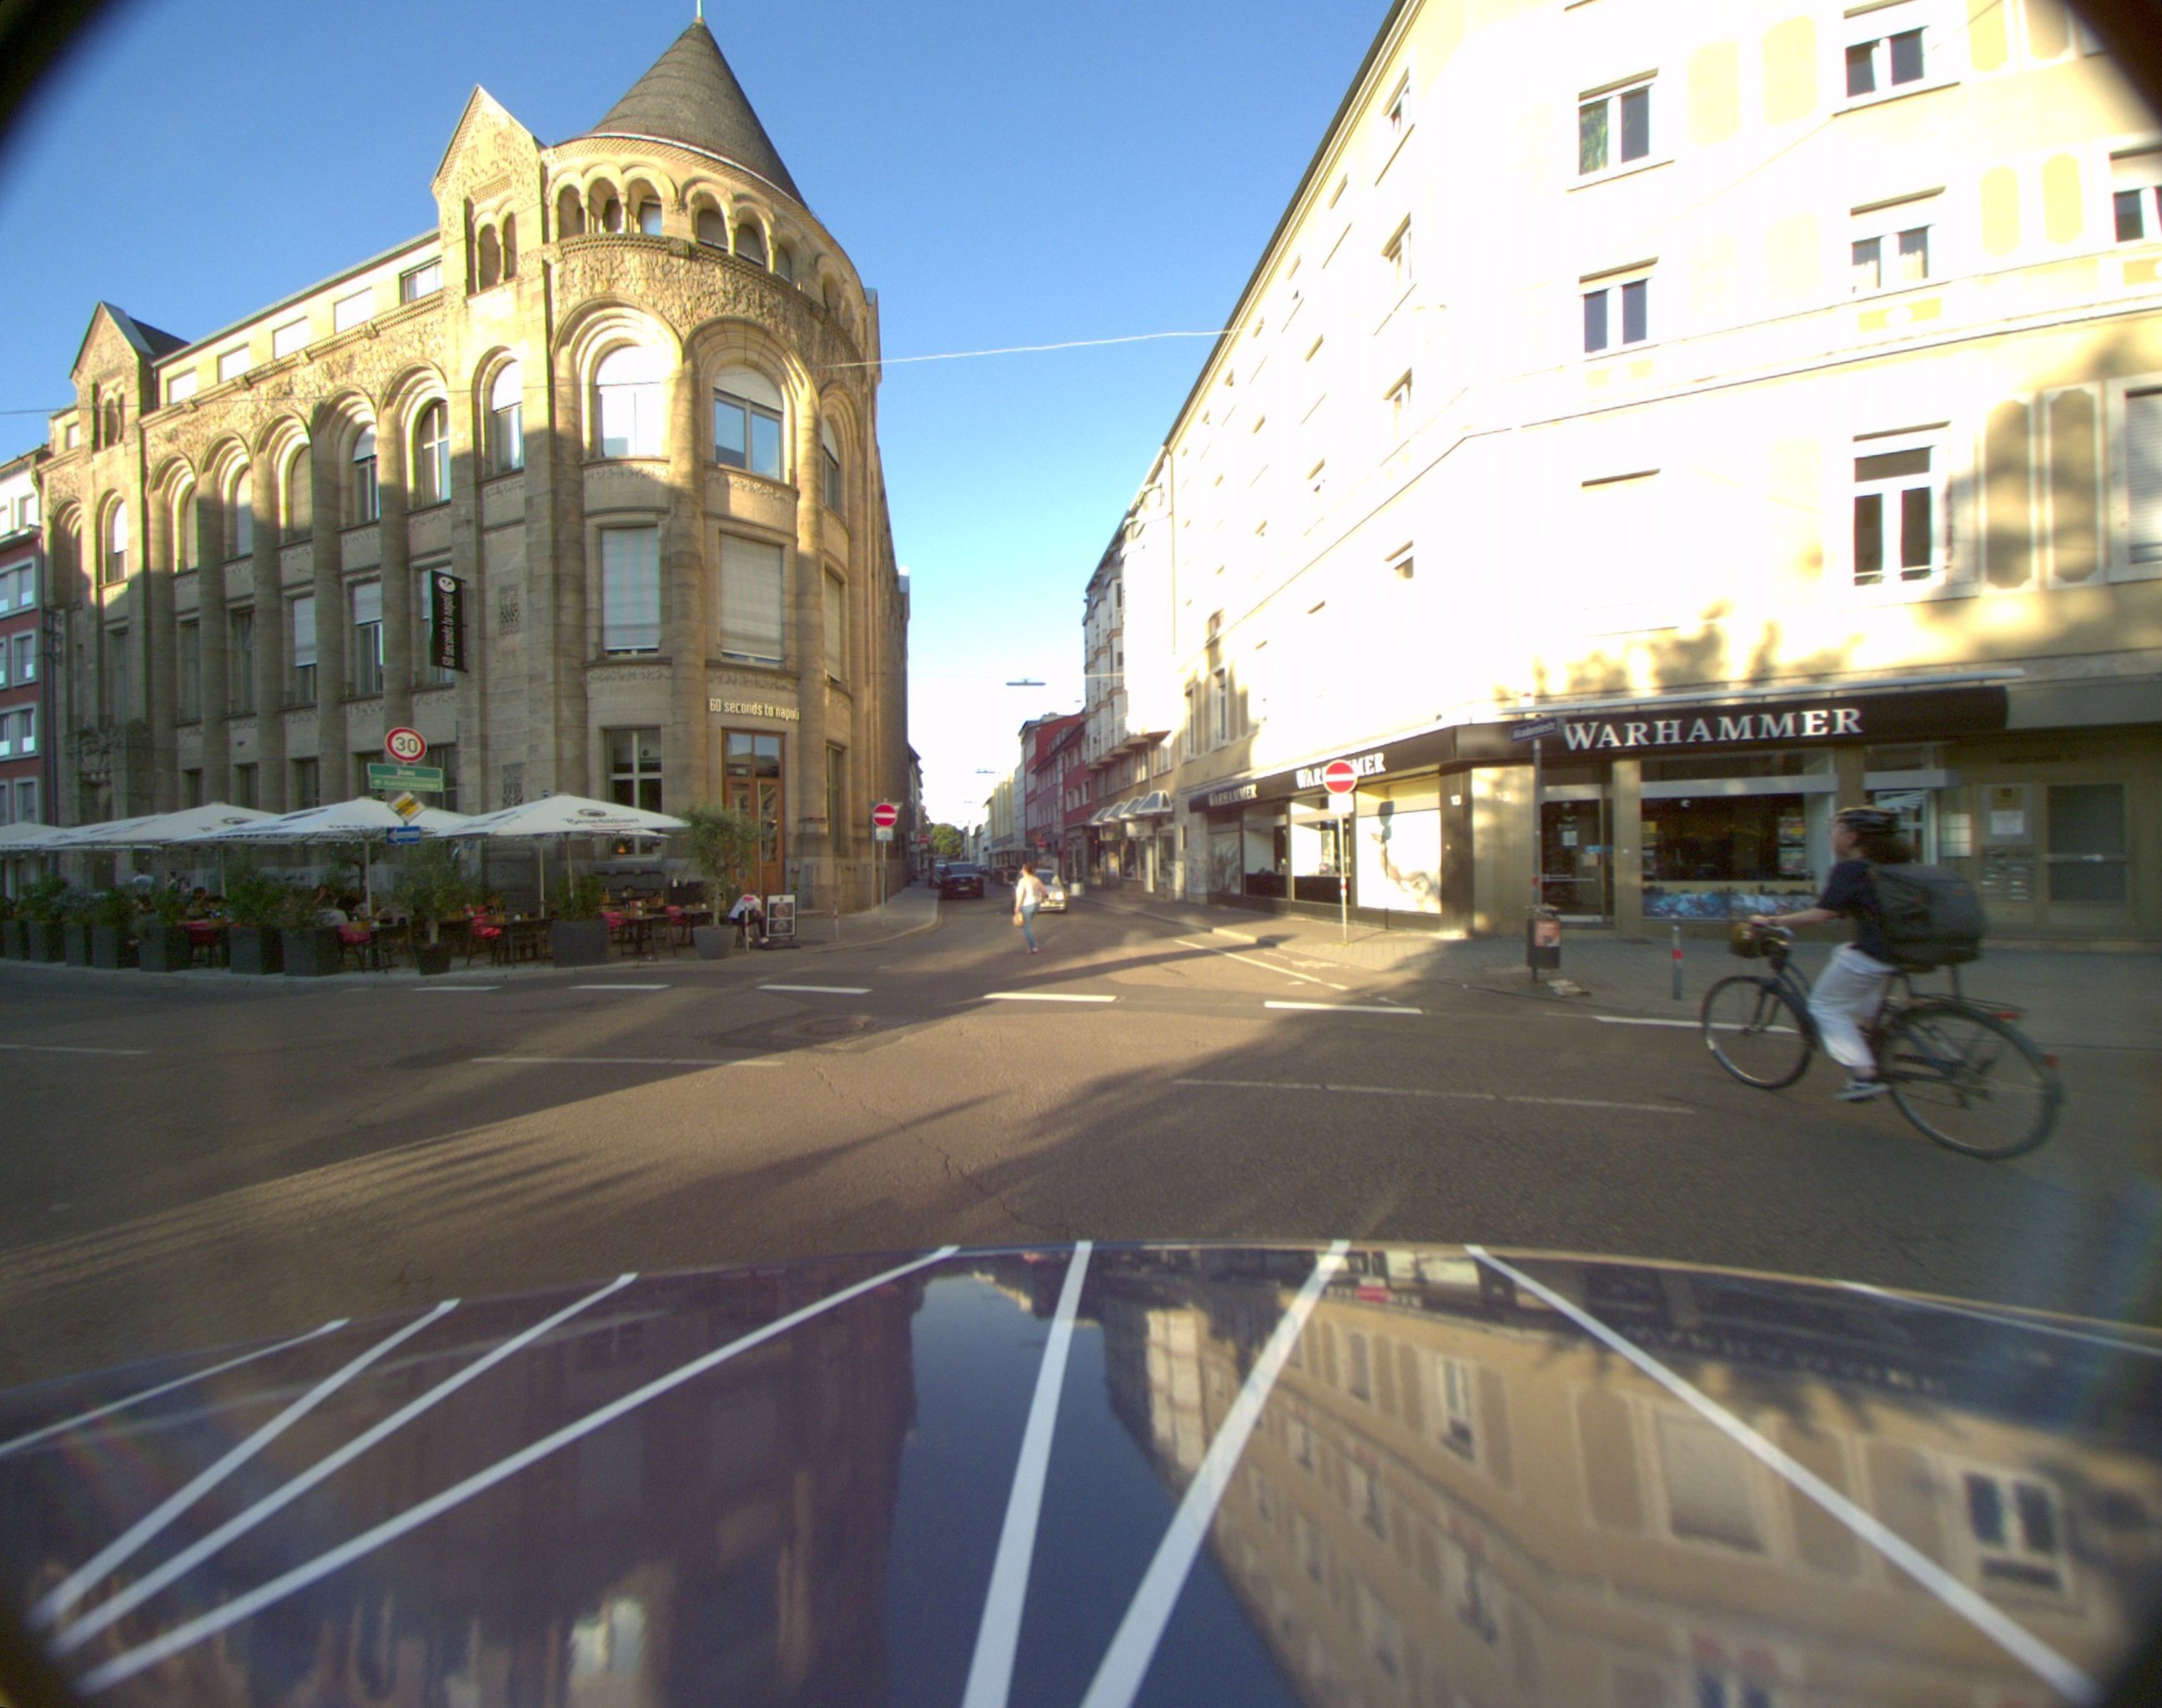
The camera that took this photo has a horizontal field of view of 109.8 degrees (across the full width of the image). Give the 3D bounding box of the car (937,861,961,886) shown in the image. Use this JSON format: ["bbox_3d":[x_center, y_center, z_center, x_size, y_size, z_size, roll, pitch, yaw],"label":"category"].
[{"bbox_3d":[-10.083,1.451,58.140,1.676,1.796,4.236,-2,0,-9],"label":"car"}]

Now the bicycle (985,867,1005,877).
[{"bbox_3d":[-11.359,2.338,100.551,2.482,1.172,0.784,-2,1,-5],"label":"bicycle"}]

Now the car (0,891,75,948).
[{"bbox_3d":[-28.825,1.766,19.222,1.756,1.404,4.102,-2,0,-12],"label":"car"}]

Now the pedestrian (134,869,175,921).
[{"bbox_3d":[-31.074,1.367,25.488,0.596,1.720,0.630,-1,0,15],"label":"pedestrian"}]

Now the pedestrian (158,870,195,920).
[{"bbox_3d":[-31.968,1.434,26.863,0.628,1.720,0.598,-1,0,17],"label":"pedestrian"}]

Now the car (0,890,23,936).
[{"bbox_3d":[-34.167,1.866,21.971,1.756,1.404,4.178,-2,0,-12],"label":"car"}]

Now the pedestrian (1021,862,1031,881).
[{"bbox_3d":[-4.442,1.380,61.006,0.612,1.464,0.546,-2,1,-18],"label":"pedestrian"}]

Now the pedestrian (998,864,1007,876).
[{"bbox_3d":[-6.962,1.436,67.549,0.634,1.061,0.559,-2,1,-18],"label":"pedestrian"}]

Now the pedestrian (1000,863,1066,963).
[{"bbox_3d":[-0.813,0.966,12.872,0.806,1.603,0.732,-2,1,-39],"label":"pedestrian"}]

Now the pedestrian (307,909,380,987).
[{"bbox_3d":[-12.595,1.582,12.998,0.686,1.238,0.600,-2,0,-19],"label":"pedestrian"}]

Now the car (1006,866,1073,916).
[{"bbox_3d":[-1.404,1.156,25.220,1.999,1.413,4.457,-2,0,-4],"label":"car"}]

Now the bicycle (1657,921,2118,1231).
[{"bbox_3d":[4.096,1.024,4.123,0.665,1.131,1.822,-2,0,5],"label":"bicycle"}]

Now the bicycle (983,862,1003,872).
[{"bbox_3d":[-11.465,1.704,98.716,2.482,1.172,0.784,-2,1,-5],"label":"bicycle"}]

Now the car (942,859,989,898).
[{"bbox_3d":[-5.811,1.160,37.745,2.000,1.772,4.930,-1,0,-11],"label":"car"}]

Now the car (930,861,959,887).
[{"bbox_3d":[-9.465,1.357,52.557,1.780,1.656,3.996,-1,0,-13],"label":"car"}]

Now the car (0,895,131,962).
[{"bbox_3d":[-25.969,1.823,18.202,1.756,1.404,4.065,-2,0,-12],"label":"car"}]

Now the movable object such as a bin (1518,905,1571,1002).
[{"bbox_3d":[5.333,1.127,8.748,0.360,1.057,0.355,-1,0,-20],"label":"movable object such as a bin"}]

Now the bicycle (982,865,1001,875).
[{"bbox_3d":[-12.047,2.147,102.666,2.482,1.172,0.784,-2,1,-5],"label":"bicycle"}]

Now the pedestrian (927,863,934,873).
[{"bbox_3d":[-18.749,1.697,94.645,0.737,1.236,0.645,-2,1,-9],"label":"pedestrian"}]

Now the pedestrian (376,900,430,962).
[{"bbox_3d":[-13.517,1.518,15.148,0.572,1.181,0.602,-2,0,24],"label":"pedestrian"}]

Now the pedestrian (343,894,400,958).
[{"bbox_3d":[-14.377,1.449,15.407,0.684,1.238,0.602,-2,0,24],"label":"pedestrian"}]

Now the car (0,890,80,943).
[{"bbox_3d":[-31.244,1.838,21.172,1.756,1.404,4.065,-2,0,-12],"label":"car"}]

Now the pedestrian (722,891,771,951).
[{"bbox_3d":[-6.971,1.386,15.862,0.607,1.181,0.822,-2,0,0],"label":"pedestrian"}]

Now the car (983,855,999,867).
[{"bbox_3d":[-12.980,1.029,109.044,2.000,1.666,4.455,-2,0,-10],"label":"car"}]

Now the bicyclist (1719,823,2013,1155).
[{"bbox_3d":[4.068,0.644,4.021,0.659,1.561,0.863,-2,1,5],"label":"bicyclist"}]

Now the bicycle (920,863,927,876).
[{"bbox_3d":[-14.017,1.356,67.733,0.520,1.083,1.751,2,-1,-10],"label":"bicycle"}]
